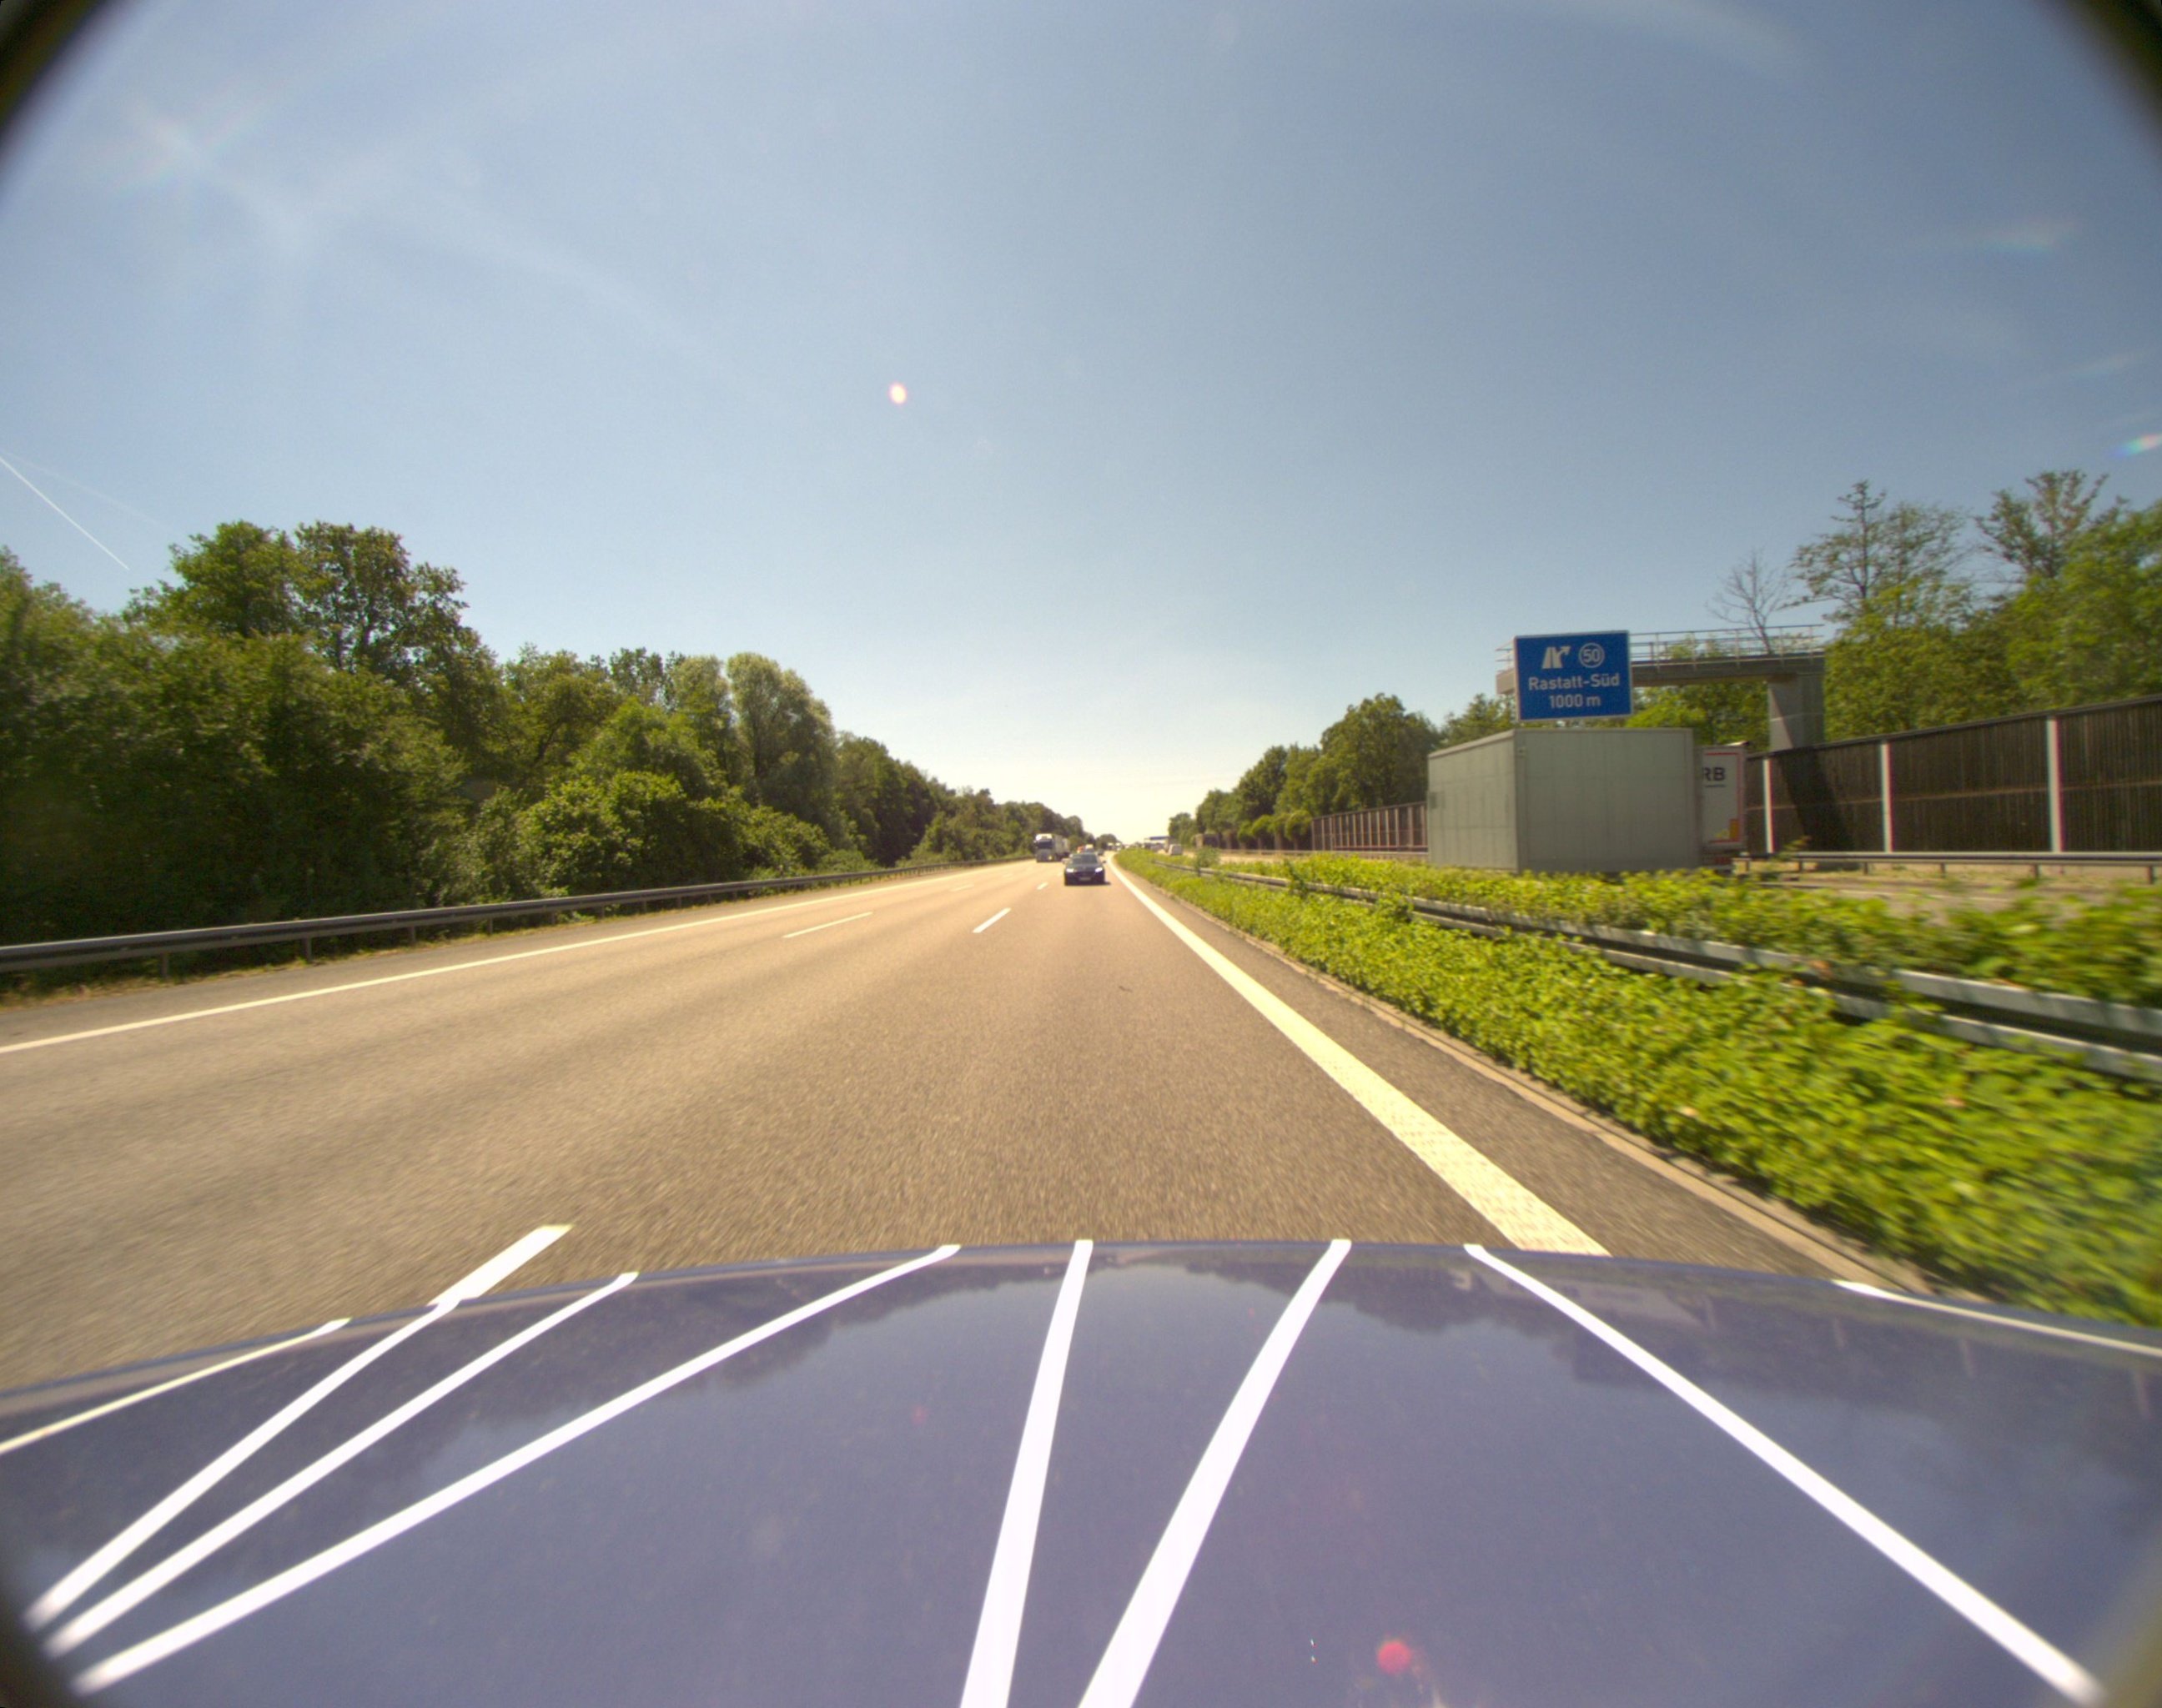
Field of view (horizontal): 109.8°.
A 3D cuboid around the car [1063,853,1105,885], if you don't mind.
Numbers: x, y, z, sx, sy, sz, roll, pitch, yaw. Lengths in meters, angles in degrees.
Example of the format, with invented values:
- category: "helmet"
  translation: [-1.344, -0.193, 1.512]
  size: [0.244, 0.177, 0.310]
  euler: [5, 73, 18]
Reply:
- category: "car"
  translation: [0.161, 0.664, 36.499]
  size: [1.800, 1.390, 4.833]
  euler: [-2, 0, 1]

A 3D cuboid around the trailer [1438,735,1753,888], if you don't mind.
- category: "trailer"
  translation: [17.344, -1.222, 27.706]
  size: [2.490, 4.111, 13.653]
  euler: [-2, 1, 1]

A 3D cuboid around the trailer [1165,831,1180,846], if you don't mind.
- category: "trailer"
  translation: [24.520, -4.119, 204.240]
  size: [2.736, 3.887, 13.762]
  euler: [-2, 1, 2]

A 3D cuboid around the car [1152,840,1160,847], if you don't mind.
- category: "car"
  translation: [21.056, -2.984, 214.613]
  size: [1.872, 1.809, 4.817]
  euler: [-2, 1, 2]

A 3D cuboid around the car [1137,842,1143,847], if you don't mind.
- category: "car"
  translation: [17.019, -2.645, 219.728]
  size: [1.630, 1.382, 3.913]
  euler: [-2, 1, 1]

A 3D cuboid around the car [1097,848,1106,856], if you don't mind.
- category: "car"
  translation: [4.518, -0.502, 168.730]
  size: [1.879, 1.630, 4.000]
  euler: [-2, 0, 3]

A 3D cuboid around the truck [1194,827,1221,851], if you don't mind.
- category: "truck"
  translation: [20.194, -2.376, 122.045]
  size: [2.877, 3.584, 9.951]
  euler: [-2, 1, 2]

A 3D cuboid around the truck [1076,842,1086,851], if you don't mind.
- category: "truck"
  translation: [0.033, -2.161, 226.908]
  size: [2.436, 2.426, 10.010]
  euler: [-2, 1, 3]

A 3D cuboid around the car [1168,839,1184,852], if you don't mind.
- category: "car"
  translation: [15.591, -1.382, 124.826]
  size: [1.998, 2.002, 5.102]
  euler: [-2, 1, 2]

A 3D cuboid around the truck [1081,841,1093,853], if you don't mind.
- category: "truck"
  translation: [1.690, -1.779, 205.816]
  size: [2.859, 3.163, 10.712]
  euler: [-2, 0, 2]

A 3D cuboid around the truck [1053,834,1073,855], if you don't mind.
- category: "truck"
  translation: [-3.544, -1.778, 152.294]
  size: [3.049, 3.947, 14.454]
  euler: [-2, 0, 2]

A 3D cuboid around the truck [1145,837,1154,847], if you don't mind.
- category: "truck"
  translation: [22.399, -3.868, 248.741]
  size: [2.199, 3.096, 8.534]
  euler: [-2, 1, 2]

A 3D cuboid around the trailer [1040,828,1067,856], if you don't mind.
- category: "trailer"
  translation: [-4.102, -1.823, 116.952]
  size: [2.746, 3.952, 13.655]
  euler: [-2, 1, 3]

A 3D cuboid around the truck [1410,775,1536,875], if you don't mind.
- category: "truck"
  translation: [17.532, -1.238, 34.521]
  size: [2.526, 4.043, 6.371]
  euler: [-2, 1, 2]

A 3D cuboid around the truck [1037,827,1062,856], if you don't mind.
- category: "truck"
  translation: [-4.474, -1.747, 109.840]
  size: [2.729, 3.952, 6.502]
  euler: [-2, 1, 4]

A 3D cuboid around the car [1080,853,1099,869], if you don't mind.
- category: "car"
  translation: [0.910, 0.694, 79.494]
  size: [1.862, 1.614, 3.737]
  euler: [-2, 0, 1]
